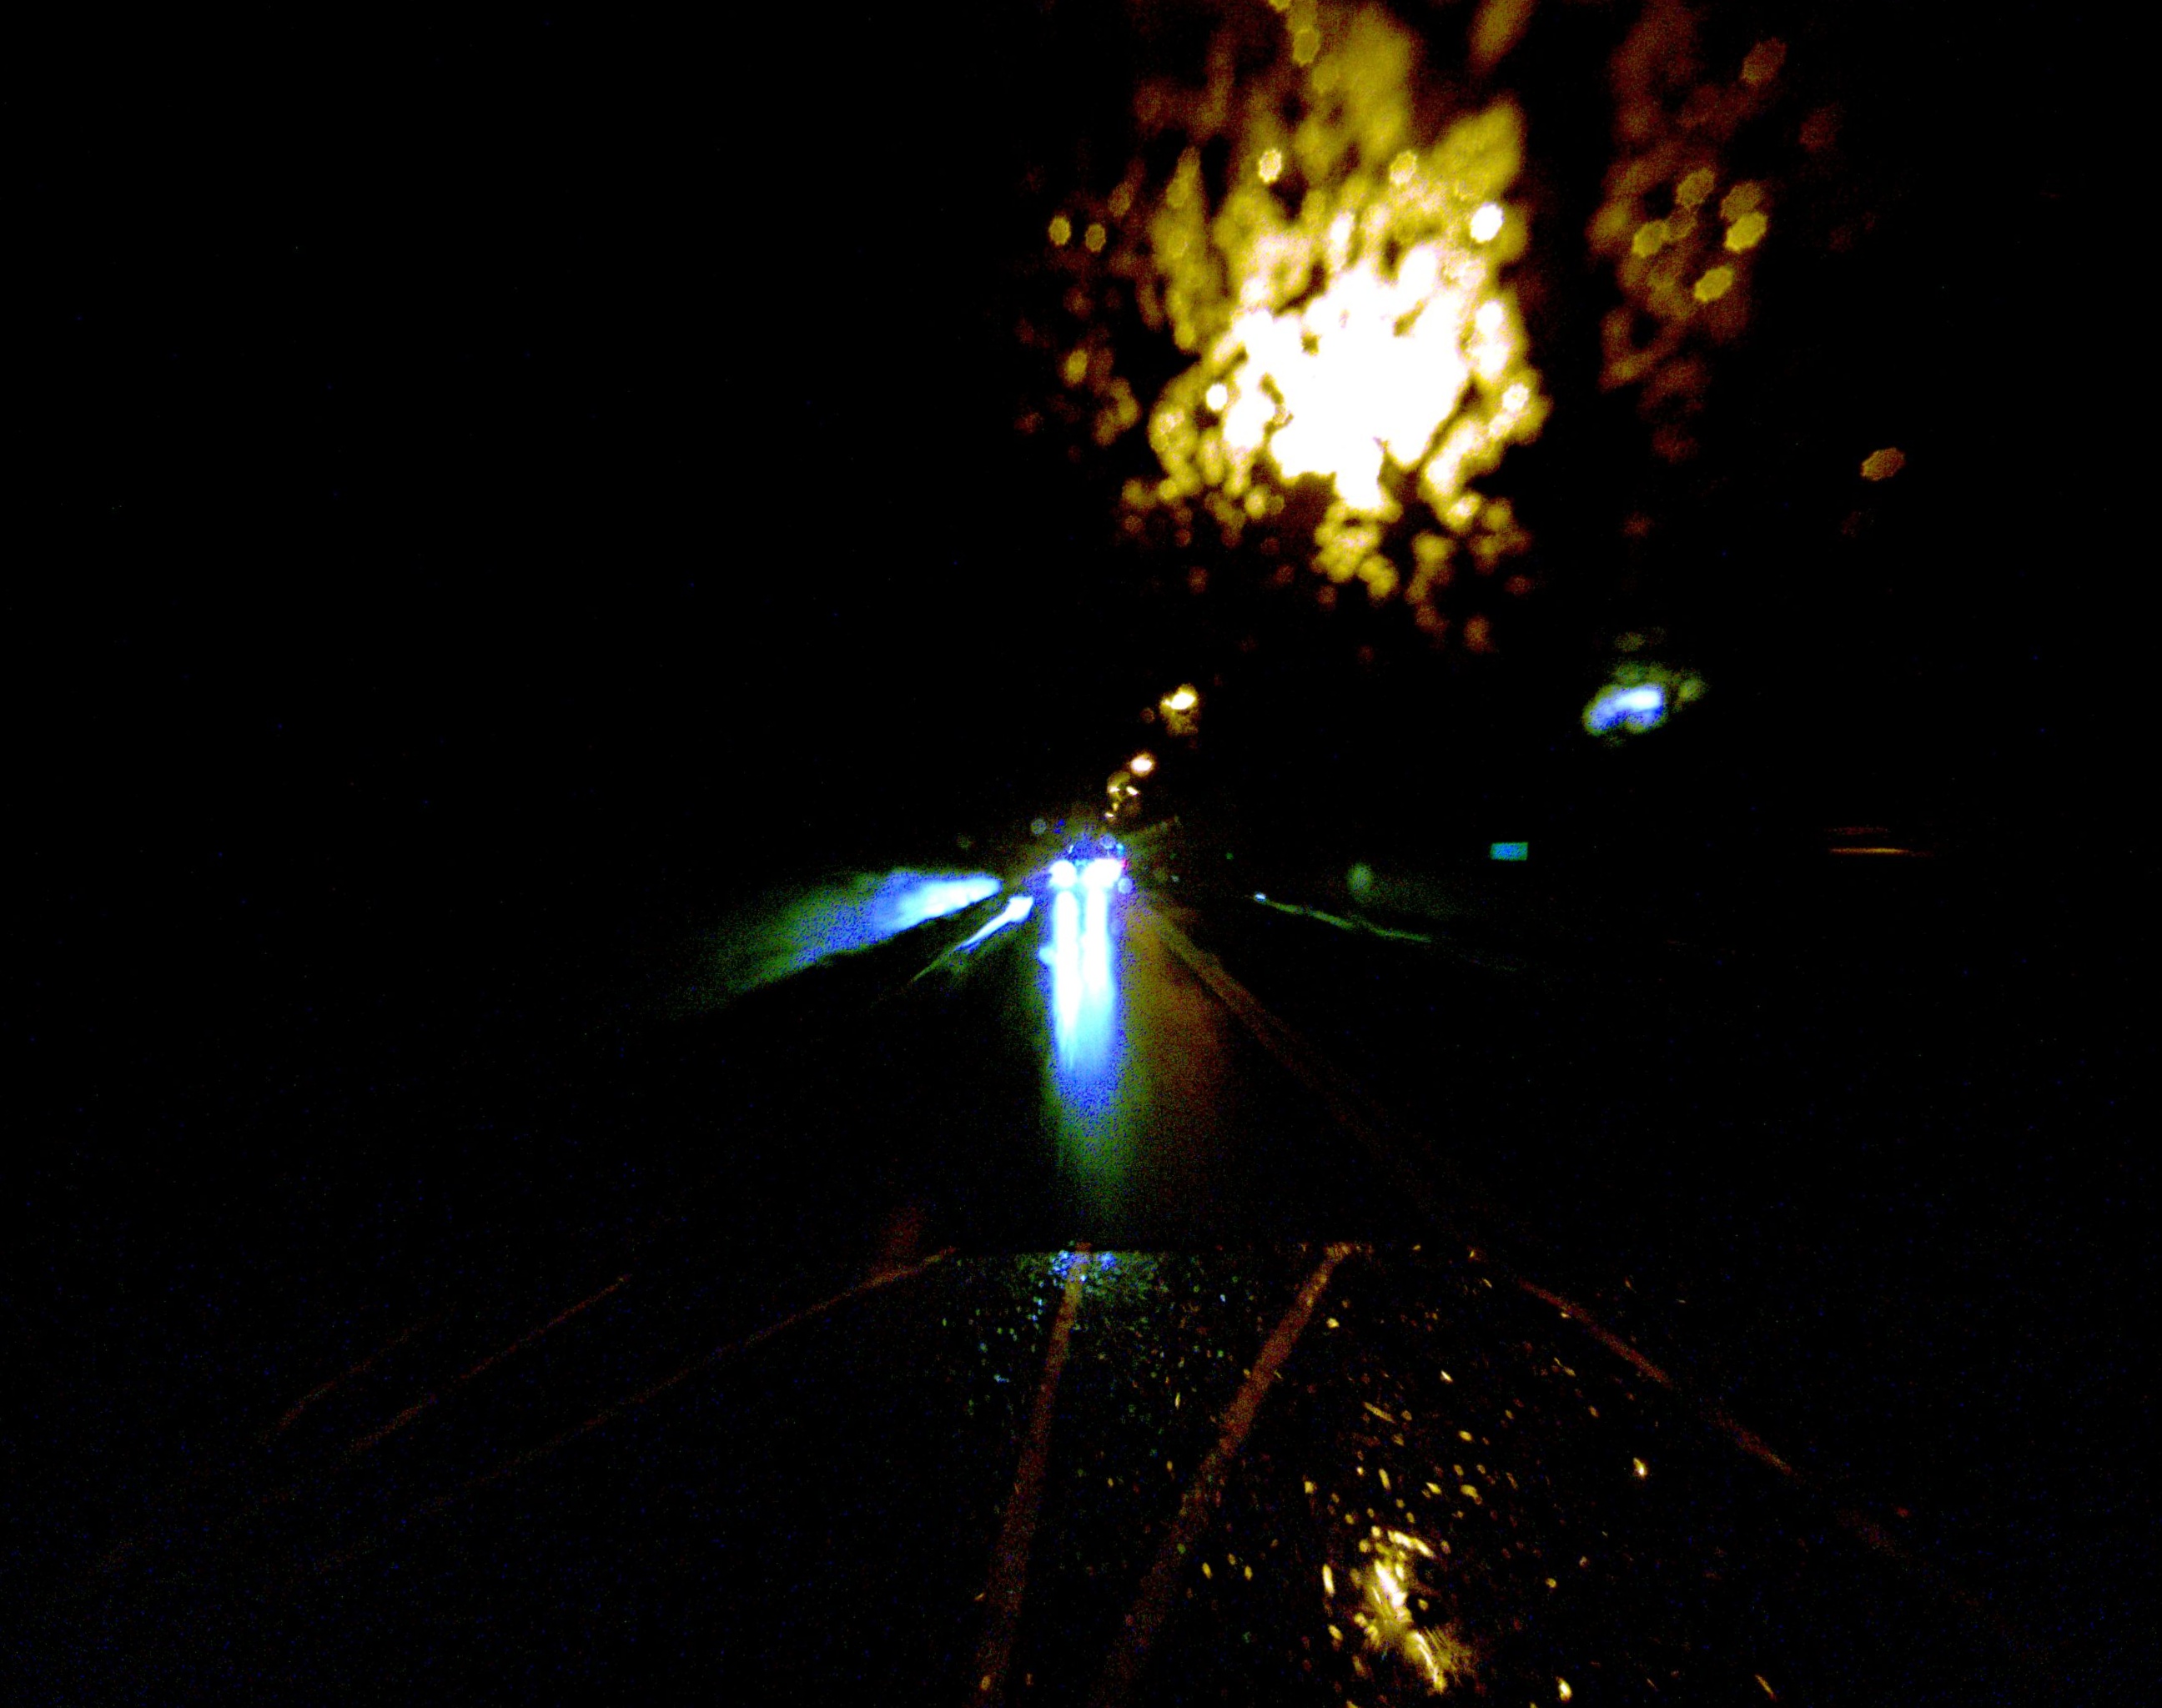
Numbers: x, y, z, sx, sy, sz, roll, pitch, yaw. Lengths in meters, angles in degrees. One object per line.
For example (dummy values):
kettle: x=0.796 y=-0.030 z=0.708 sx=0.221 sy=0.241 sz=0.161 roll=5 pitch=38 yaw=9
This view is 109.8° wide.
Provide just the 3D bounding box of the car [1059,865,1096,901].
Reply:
car: x=-0.142 y=1.350 z=36.267 sx=1.627 sy=1.487 sz=3.584 roll=-2 pitch=1 yaw=1

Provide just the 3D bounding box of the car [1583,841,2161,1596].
car: x=3.145 y=0.788 z=1.746 sx=1.627 sy=1.603 sz=3.584 roll=-2 pitch=1 yaw=1
